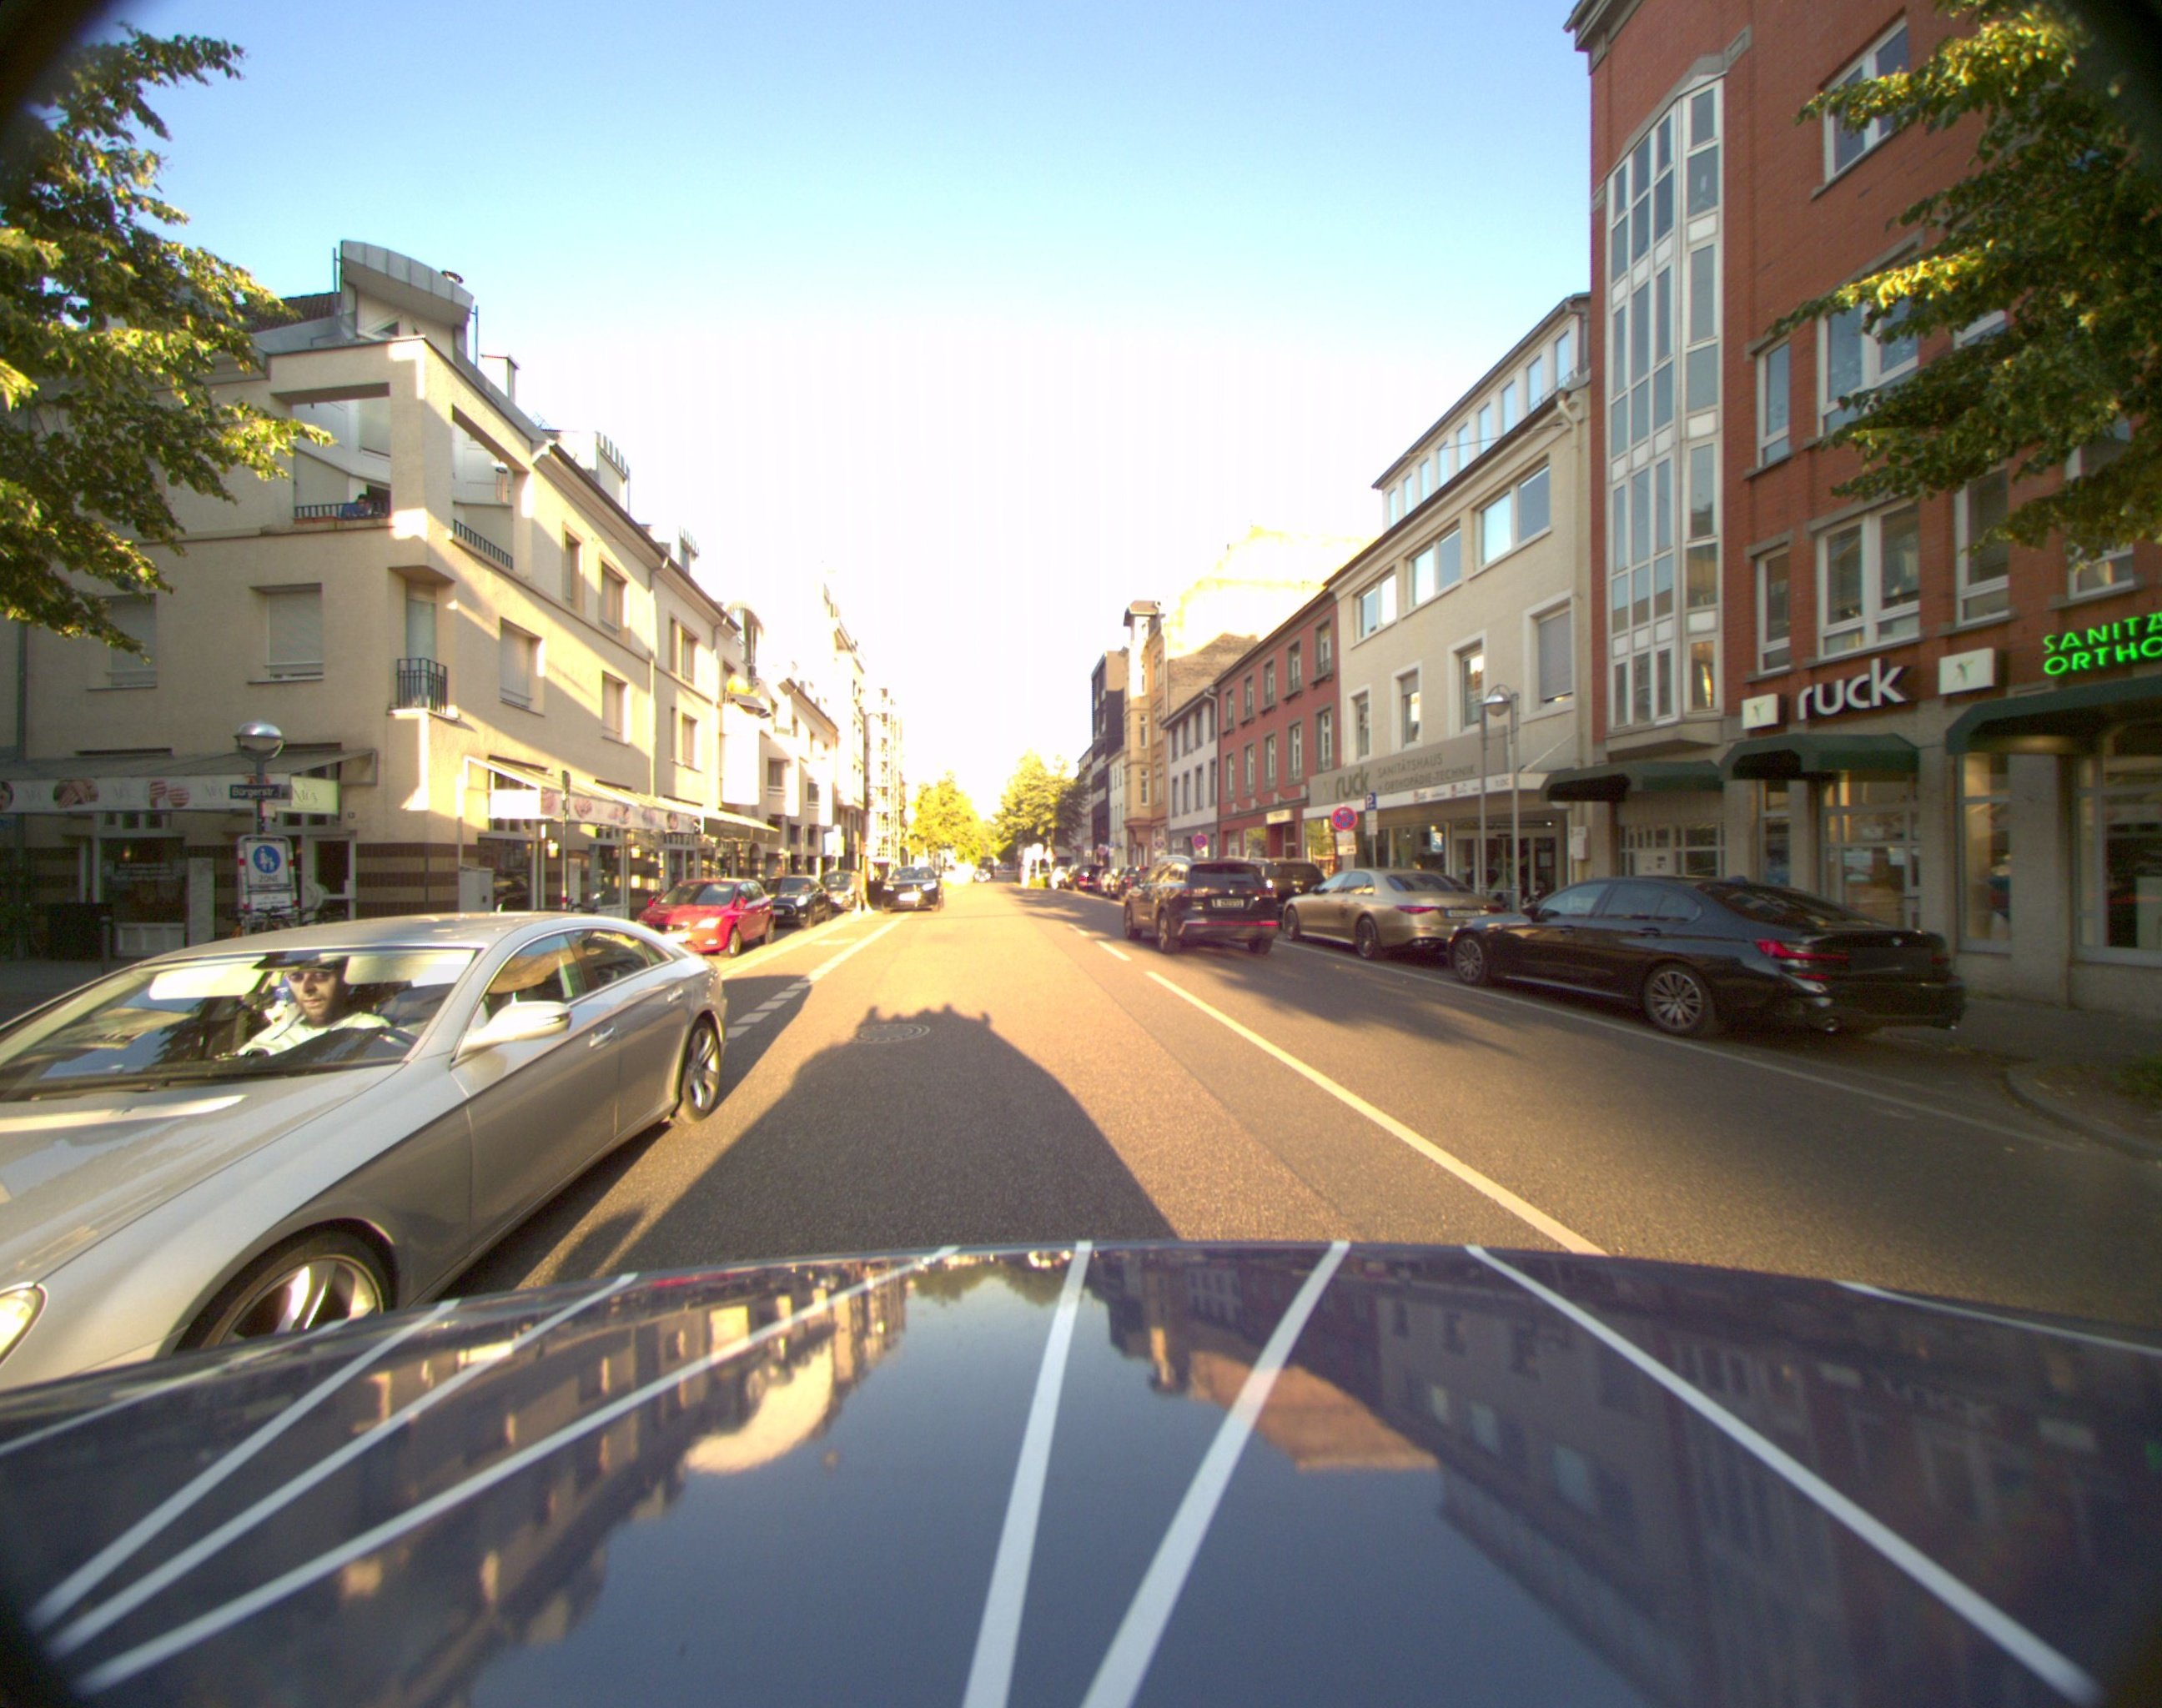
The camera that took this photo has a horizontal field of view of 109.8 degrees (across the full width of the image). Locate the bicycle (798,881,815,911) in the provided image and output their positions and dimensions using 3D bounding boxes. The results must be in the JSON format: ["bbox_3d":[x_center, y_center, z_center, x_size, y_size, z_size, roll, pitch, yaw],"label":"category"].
[{"bbox_3d":[-10.630,1.628,29.464,0.296,1.079,1.462,-1,0,-7],"label":"bicycle"}]

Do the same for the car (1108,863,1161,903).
[{"bbox_3d":[2.398,1.292,35.002,1.726,1.673,4.047,2,-1,-6],"label":"car"}]

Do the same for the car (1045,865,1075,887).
[{"bbox_3d":[-1.548,1.538,54.840,1.674,1.512,3.562,1,-1,-8],"label":"car"}]

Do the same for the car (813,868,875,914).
[{"bbox_3d":[-8.972,1.338,29.052,1.622,1.583,3.923,-1,0,-8],"label":"car"}]

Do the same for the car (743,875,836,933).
[{"bbox_3d":[-8.190,1.351,21.666,1.622,1.425,3.923,0,-1,-8],"label":"car"}]

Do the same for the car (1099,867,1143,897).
[{"bbox_3d":[2.067,1.453,40.032,1.690,1.461,3.689,2,-1,-6],"label":"car"}]

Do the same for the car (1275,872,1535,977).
[{"bbox_3d":[5.349,1.083,13.510,2.000,1.463,5.104,1,-1,-6],"label":"car"}]

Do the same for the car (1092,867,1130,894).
[{"bbox_3d":[1.684,1.498,44.083,1.674,1.448,3.563,2,-1,-6],"label":"car"}]

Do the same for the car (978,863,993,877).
[{"bbox_3d":[-11.055,1.859,87.915,1.623,1.465,3.686,-2,0,-8],"label":"car"}]

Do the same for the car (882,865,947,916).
[{"bbox_3d":[-5.939,1.243,27.493,1.891,1.626,4.224,-2,0,-8],"label":"car"}]

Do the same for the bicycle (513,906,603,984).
[{"bbox_3d":[-8.436,1.428,12.331,0.315,1.040,1.881,0,0,-5],"label":"bicycle"}]

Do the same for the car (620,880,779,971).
[{"bbox_3d":[-7.192,1.272,14.749,1.594,1.425,3.923,1,-1,-8],"label":"car"}]

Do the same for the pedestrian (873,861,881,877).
[{"bbox_3d":[-16.658,1.234,62.018,0.492,1.256,0.421,-2,0,-7],"label":"pedestrian"}]

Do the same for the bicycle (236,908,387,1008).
[{"bbox_3d":[-10.314,1.344,10.272,0.322,1.098,1.878,-1,0,-7],"label":"bicycle"}]

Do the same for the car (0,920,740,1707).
[{"bbox_3d":[-3.023,1.134,3.059,1.748,1.392,4.637,-2,-1,-8],"label":"car"}]

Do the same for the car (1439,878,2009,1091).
[{"bbox_3d":[5.883,1.048,7.902,1.726,1.463,4.539,2,-1,-7],"label":"car"}]

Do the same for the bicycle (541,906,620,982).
[{"bbox_3d":[-8.105,1.428,12.377,0.315,1.040,1.664,0,0,-5],"label":"bicycle"}]

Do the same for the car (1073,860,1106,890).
[{"bbox_3d":[0.492,1.319,47.833,1.674,1.763,3.563,2,-1,-6],"label":"car"}]

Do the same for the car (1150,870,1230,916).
[{"bbox_3d":[3.744,1.323,26.865,1.707,1.429,4.012,2,-1,-8],"label":"car"}]

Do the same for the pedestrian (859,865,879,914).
[{"bbox_3d":[-7.678,1.279,27.554,0.631,1.739,0.669,0,0,-8],"label":"pedestrian"}]

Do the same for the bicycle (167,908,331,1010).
[{"bbox_3d":[-11.057,1.347,10.190,0.322,1.098,1.878,-1,0,-7],"label":"bicycle"}]

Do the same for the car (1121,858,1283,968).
[{"bbox_3d":[1.984,0.942,13.794,1.736,1.665,4.293,1,-1,-7],"label":"car"}]

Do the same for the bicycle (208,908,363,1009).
[{"bbox_3d":[-10.619,1.343,10.236,0.291,1.098,1.886,-1,0,-7],"label":"bicycle"}]

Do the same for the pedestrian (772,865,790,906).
[{"bbox_3d":[-13.385,1.418,33.955,0.576,1.789,0.450,-2,1,-7],"label":"pedestrian"}]

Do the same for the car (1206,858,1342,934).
[{"bbox_3d":[4.976,1.031,20.402,1.726,1.768,4.935,1,-1,-9],"label":"car"}]
